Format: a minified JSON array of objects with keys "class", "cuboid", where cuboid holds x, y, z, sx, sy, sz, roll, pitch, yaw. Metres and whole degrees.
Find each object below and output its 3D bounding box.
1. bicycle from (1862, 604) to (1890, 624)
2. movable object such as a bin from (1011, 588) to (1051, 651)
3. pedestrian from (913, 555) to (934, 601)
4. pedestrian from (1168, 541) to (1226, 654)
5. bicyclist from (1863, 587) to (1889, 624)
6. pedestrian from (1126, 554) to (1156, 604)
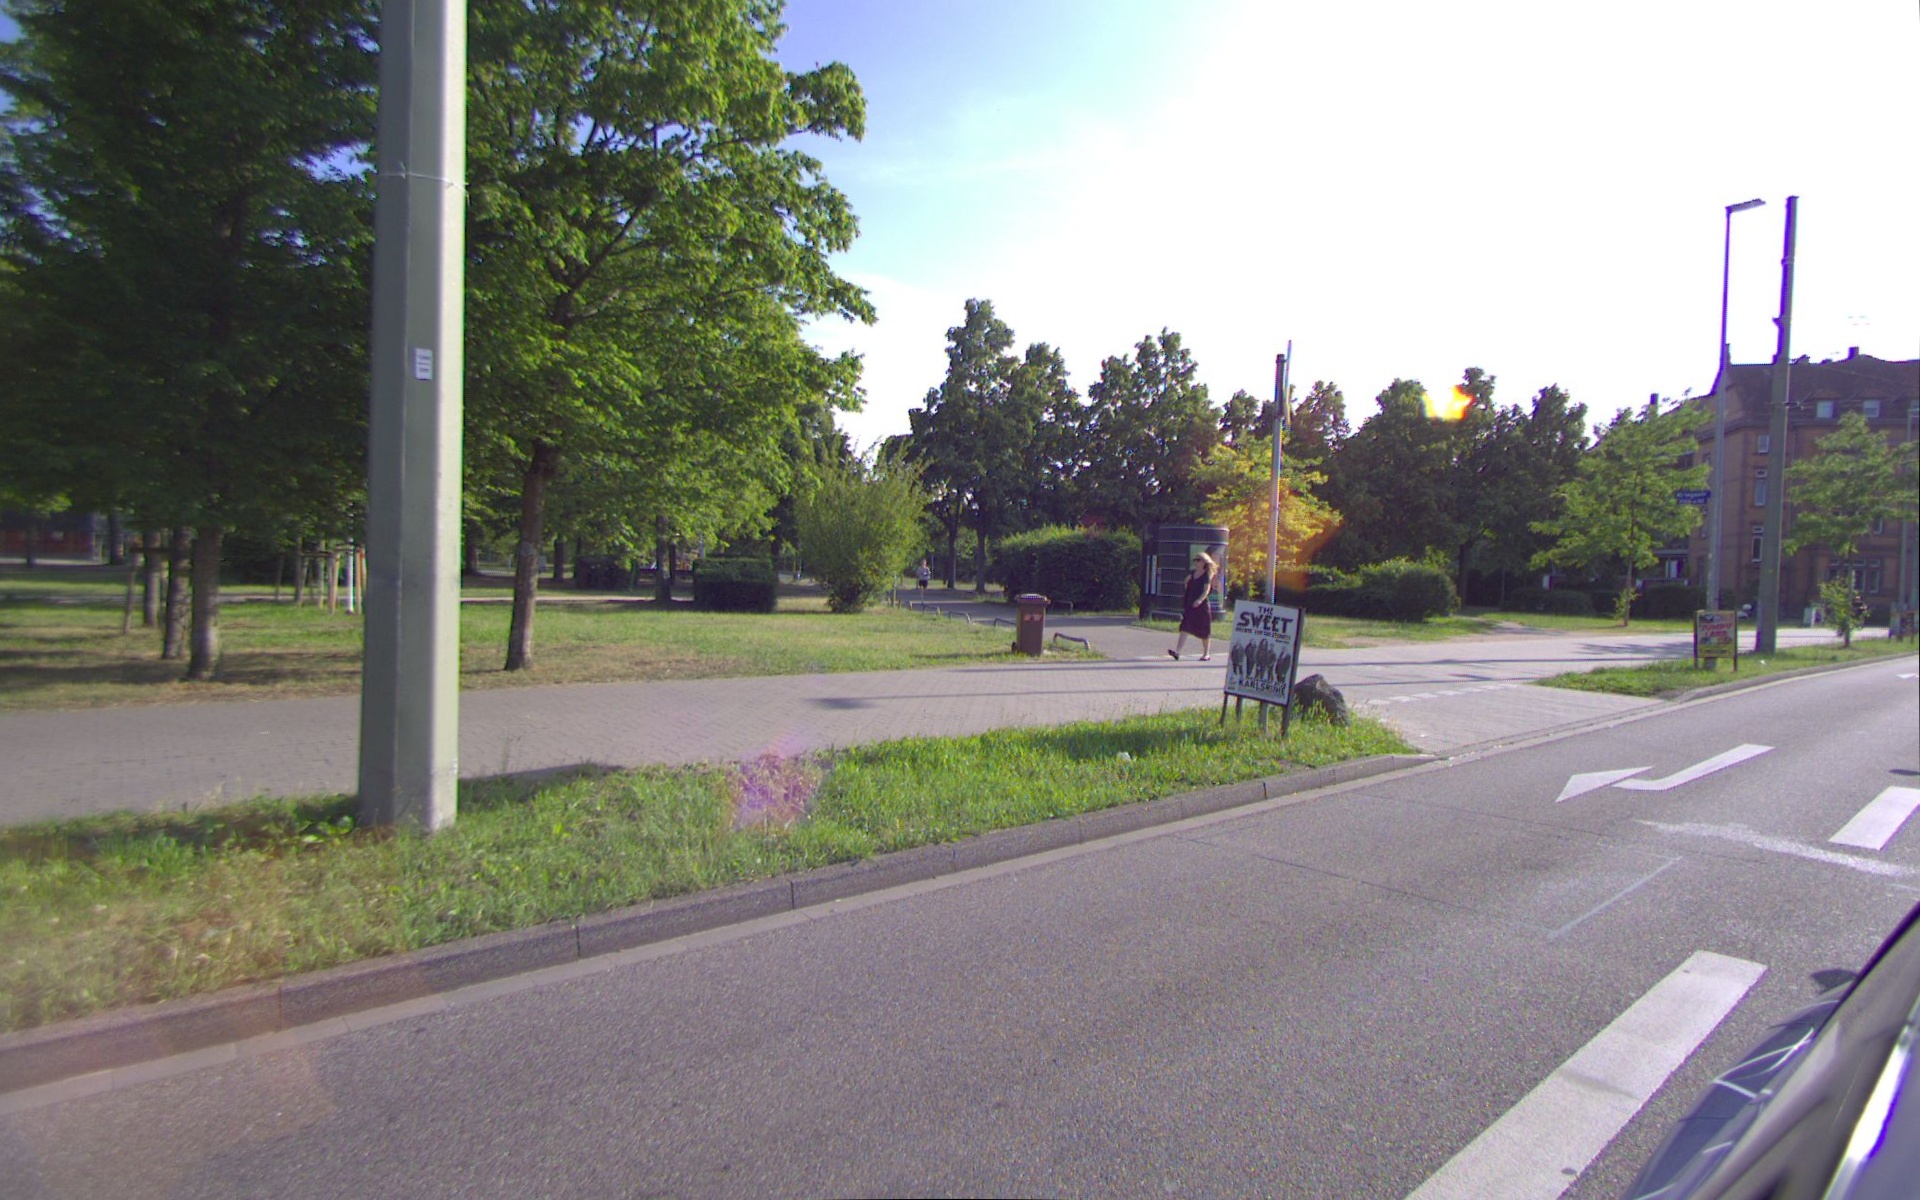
[{"class":"bicycle","cuboid":[45.721,0.704,50.501,2.057,0.929,0.740,0,2,-39]},{"class":"movable object such as a bin","cuboid":[1.068,0.291,15.323,0.514,0.915,0.504,2,1,-2]},{"class":"pedestrian","cuboid":[-1.347,-0.806,37.342,0.609,1.671,0.664,1,1,-16]},{"class":"pedestrian","cuboid":[3.701,-0.044,15.836,0.651,1.722,0.558,1,2,-41]},{"class":"bicyclist","cuboid":[45.592,0.253,50.347,1.098,1.795,0.754,1,2,-39]},{"class":"pedestrian","cuboid":[8.032,-0.919,44.969,0.872,2.184,0.914,1,1,-28]}]
